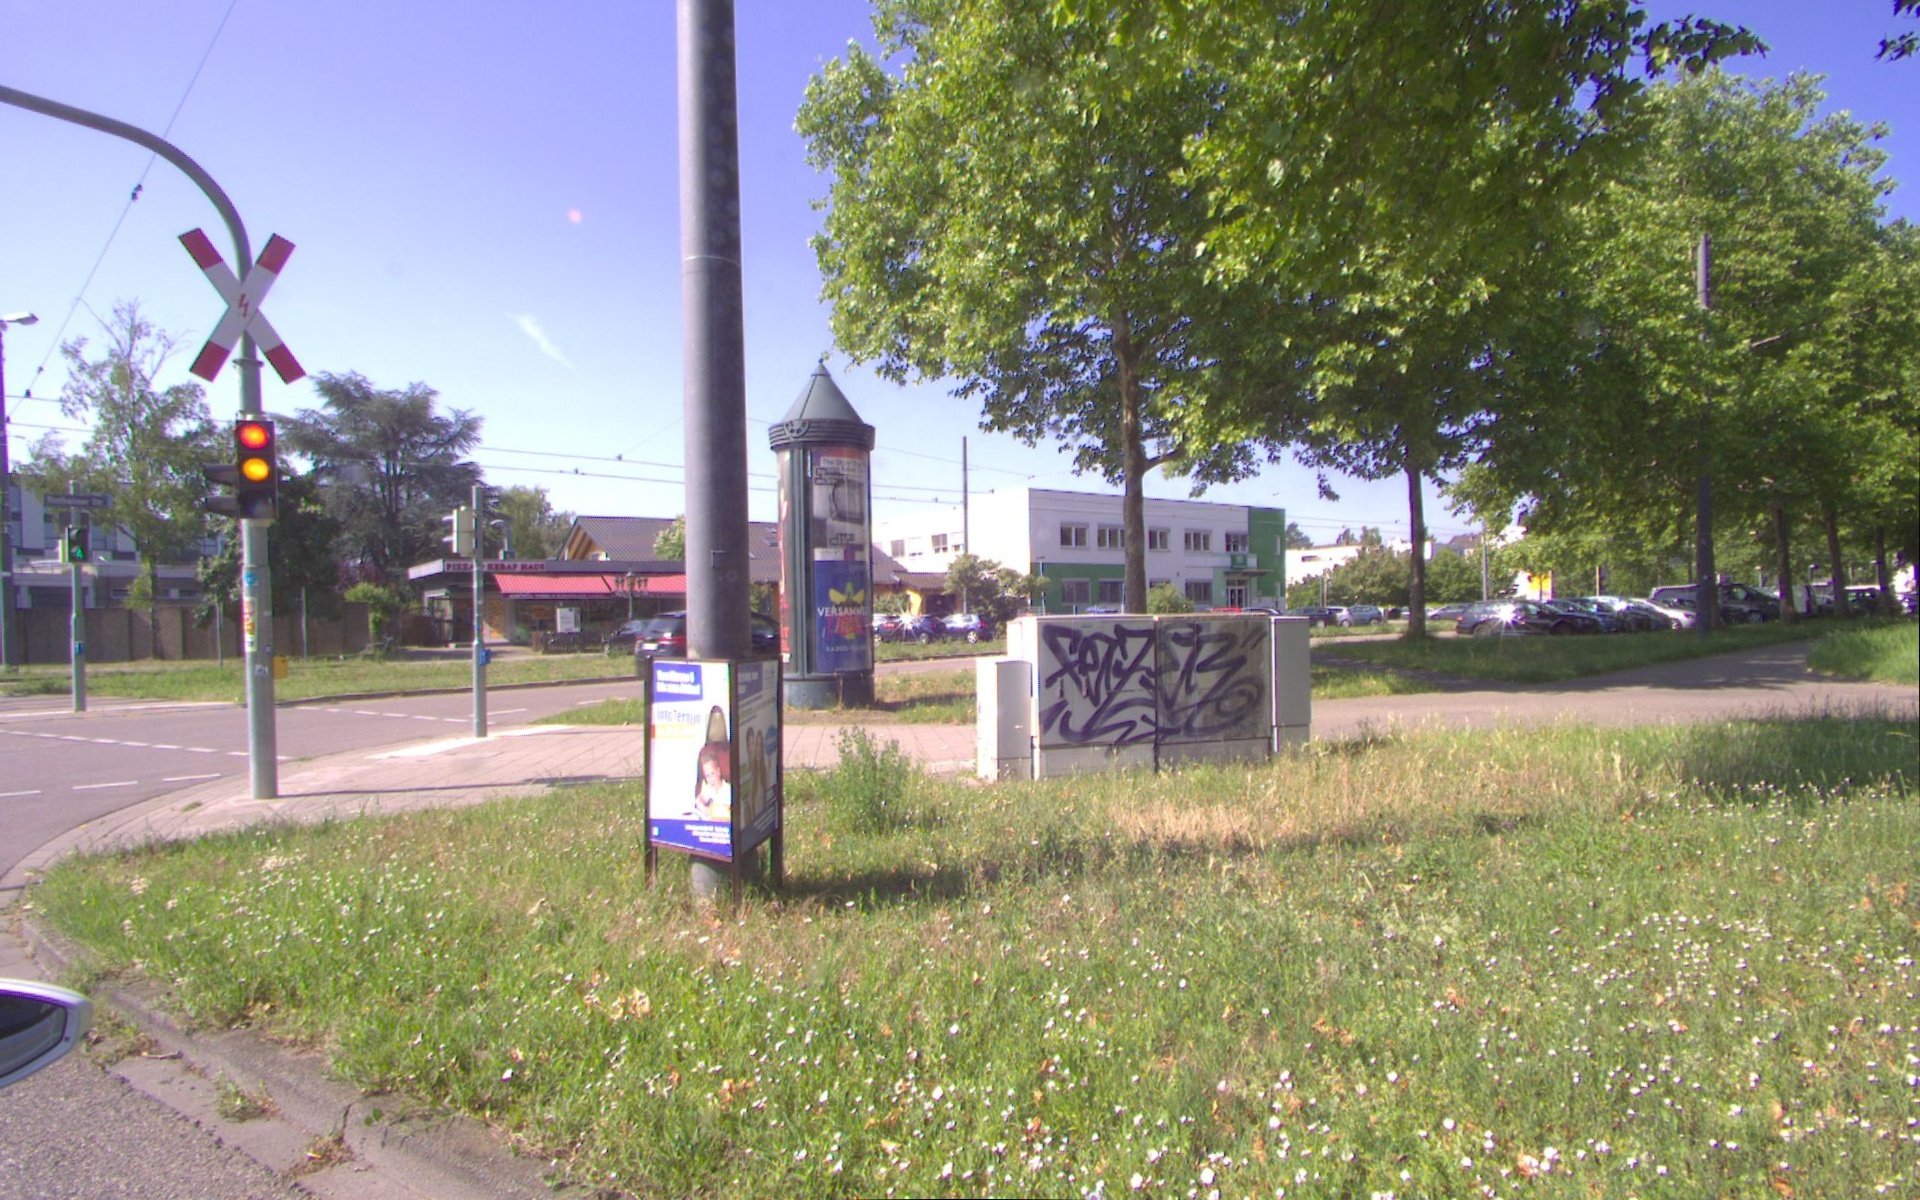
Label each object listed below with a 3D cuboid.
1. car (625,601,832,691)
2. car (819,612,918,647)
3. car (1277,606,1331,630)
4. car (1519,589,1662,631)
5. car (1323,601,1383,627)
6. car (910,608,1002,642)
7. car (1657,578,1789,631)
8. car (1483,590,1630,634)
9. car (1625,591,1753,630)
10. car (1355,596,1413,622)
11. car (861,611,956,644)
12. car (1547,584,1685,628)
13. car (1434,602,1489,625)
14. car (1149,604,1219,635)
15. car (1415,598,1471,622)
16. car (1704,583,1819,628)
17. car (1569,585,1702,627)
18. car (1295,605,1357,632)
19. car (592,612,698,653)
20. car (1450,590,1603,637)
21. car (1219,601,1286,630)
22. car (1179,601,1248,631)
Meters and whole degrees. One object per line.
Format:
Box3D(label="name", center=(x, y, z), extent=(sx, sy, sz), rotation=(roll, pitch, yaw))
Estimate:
Box3D(label="car", center=(-4.808, 0.883, 21.170), extent=(1.775, 1.677, 3.963), rotation=(2, 2, 44))
Box3D(label="car", center=(-4.275, 1.385, 46.790), extent=(4.139, 1.518, 2.136), rotation=(-2, -1, 26))
Box3D(label="car", center=(23.371, 1.221, 68.110), extent=(3.383, 1.556, 1.565), rotation=(-1, 0, 18))
Box3D(label="car", center=(24.041, 0.410, 38.271), extent=(4.309, 1.510, 1.982), rotation=(-1, 0, 44))
Box3D(label="car", center=(28.265, 1.019, 72.037), extent=(3.934, 1.816, 1.995), rotation=(-1, -2, 24))
Box3D(label="car", center=(-0.187, 1.277, 50.572), extent=(4.139, 1.640, 2.136), rotation=(-1, -1, 26))
Box3D(label="car", center=(35.144, 0.248, 46.232), extent=(1.978, 2.320, 4.550), rotation=(-1, 0, -41))
Box3D(label="car", center=(21.726, 0.457, 36.556), extent=(4.309, 1.510, 1.982), rotation=(-1, 0, 44))
Box3D(label="car", center=(31.863, 0.472, 43.838), extent=(4.309, 1.654, 1.982), rotation=(-1, 0, 44))
Box3D(label="car", center=(31.466, 0.668, 74.331), extent=(3.934, 1.816, 1.995), rotation=(-1, -2, 24))
Box3D(label="car", center=(-2.499, 1.340, 48.648), extent=(4.139, 1.518, 2.136), rotation=(-2, -1, 26))
Box3D(label="car", center=(25.958, 0.301, 39.692), extent=(4.309, 1.654, 1.982), rotation=(-1, -2, 44))
Box3D(label="car", center=(41.375, 1.156, 82.777), extent=(3.934, 1.816, 1.995), rotation=(-1, -2, 24))
Box3D(label="car", center=(13.762, 1.212, 61.538), extent=(3.934, 1.816, 1.995), rotation=(-1, -2, 24))
Box3D(label="car", center=(38.903, 0.844, 80.741), extent=(3.934, 1.816, 1.995), rotation=(-1, -2, 24))
Box3D(label="car", center=(41.699, 0.332, 52.154), extent=(4.542, 2.238, 1.982), rotation=(-1, 0, 44))
Box3D(label="car", center=(27.826, 0.262, 41.342), extent=(4.309, 1.654, 1.982), rotation=(-1, 0, 44))
Box3D(label="car", center=(25.786, 1.321, 70.558), extent=(3.934, 1.816, 1.995), rotation=(-1, -2, 24))
Box3D(label="car", center=(-12.880, 1.345, 40.752), extent=(2.121, 1.518, 5.073), rotation=(-1, -2, -43))
Box3D(label="car", center=(19.744, 0.490, 35.019), extent=(4.310, 1.510, 1.982), rotation=(-2, -1, 44))
Box3D(label="car", center=(18.858, 1.009, 64.609), extent=(3.934, 1.816, 1.995), rotation=(-1, -2, 24))
Box3D(label="car", center=(16.002, 1.024, 63.120), extent=(3.934, 1.816, 1.995), rotation=(-1, -2, 24))
